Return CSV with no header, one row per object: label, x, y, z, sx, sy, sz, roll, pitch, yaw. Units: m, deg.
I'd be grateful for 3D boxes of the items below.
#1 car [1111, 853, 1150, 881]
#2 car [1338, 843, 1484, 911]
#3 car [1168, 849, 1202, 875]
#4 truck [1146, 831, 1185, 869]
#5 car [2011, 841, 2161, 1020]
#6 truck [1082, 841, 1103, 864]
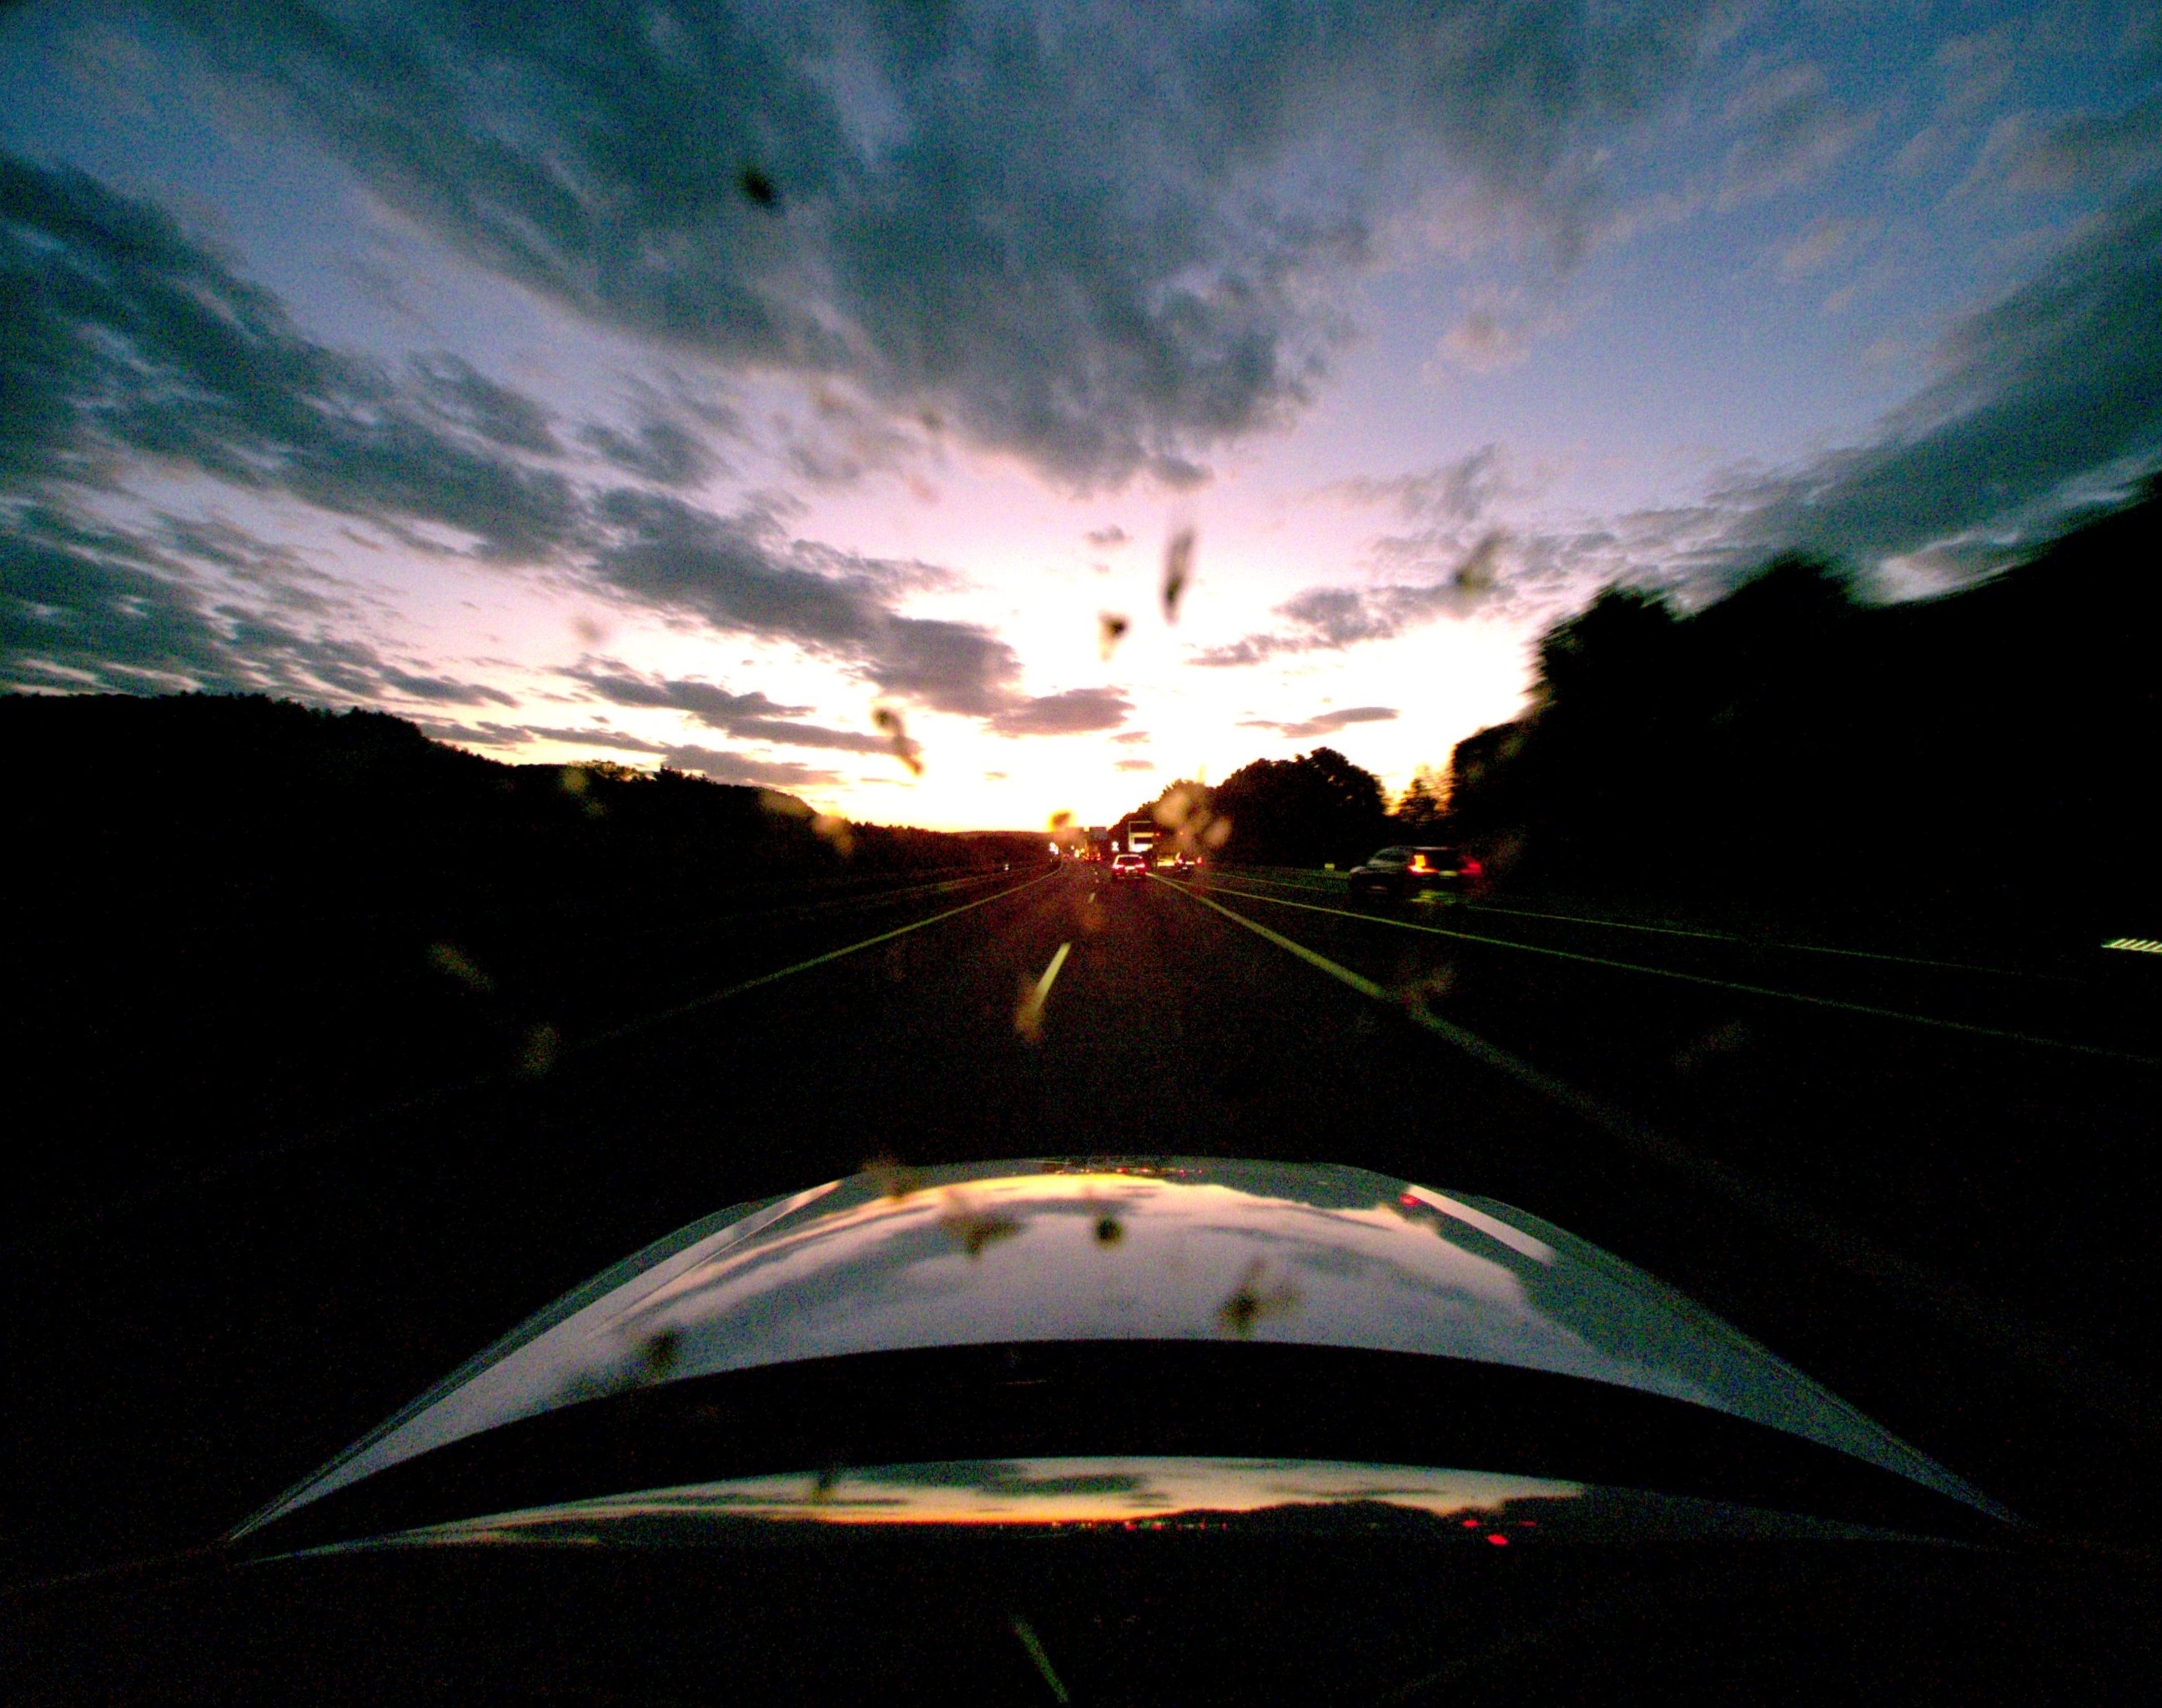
car,2.702,0.722,45.458,1.909,1.442,3.999,-1,-1,0
car,8.931,0.572,22.578,1.793,1.645,5.155,0,0,-2
car,6.626,0.512,52.313,1.607,1.556,3.315,-1,-1,-3
truck,7.035,-0.343,68.557,2.263,2.972,6.626,2,0,-2
car,10.048,0.666,5.374,1.794,1.492,5.109,2,0,-4
truck,2.096,-0.286,156.835,3.501,4.301,9.883,-1,-1,-2
